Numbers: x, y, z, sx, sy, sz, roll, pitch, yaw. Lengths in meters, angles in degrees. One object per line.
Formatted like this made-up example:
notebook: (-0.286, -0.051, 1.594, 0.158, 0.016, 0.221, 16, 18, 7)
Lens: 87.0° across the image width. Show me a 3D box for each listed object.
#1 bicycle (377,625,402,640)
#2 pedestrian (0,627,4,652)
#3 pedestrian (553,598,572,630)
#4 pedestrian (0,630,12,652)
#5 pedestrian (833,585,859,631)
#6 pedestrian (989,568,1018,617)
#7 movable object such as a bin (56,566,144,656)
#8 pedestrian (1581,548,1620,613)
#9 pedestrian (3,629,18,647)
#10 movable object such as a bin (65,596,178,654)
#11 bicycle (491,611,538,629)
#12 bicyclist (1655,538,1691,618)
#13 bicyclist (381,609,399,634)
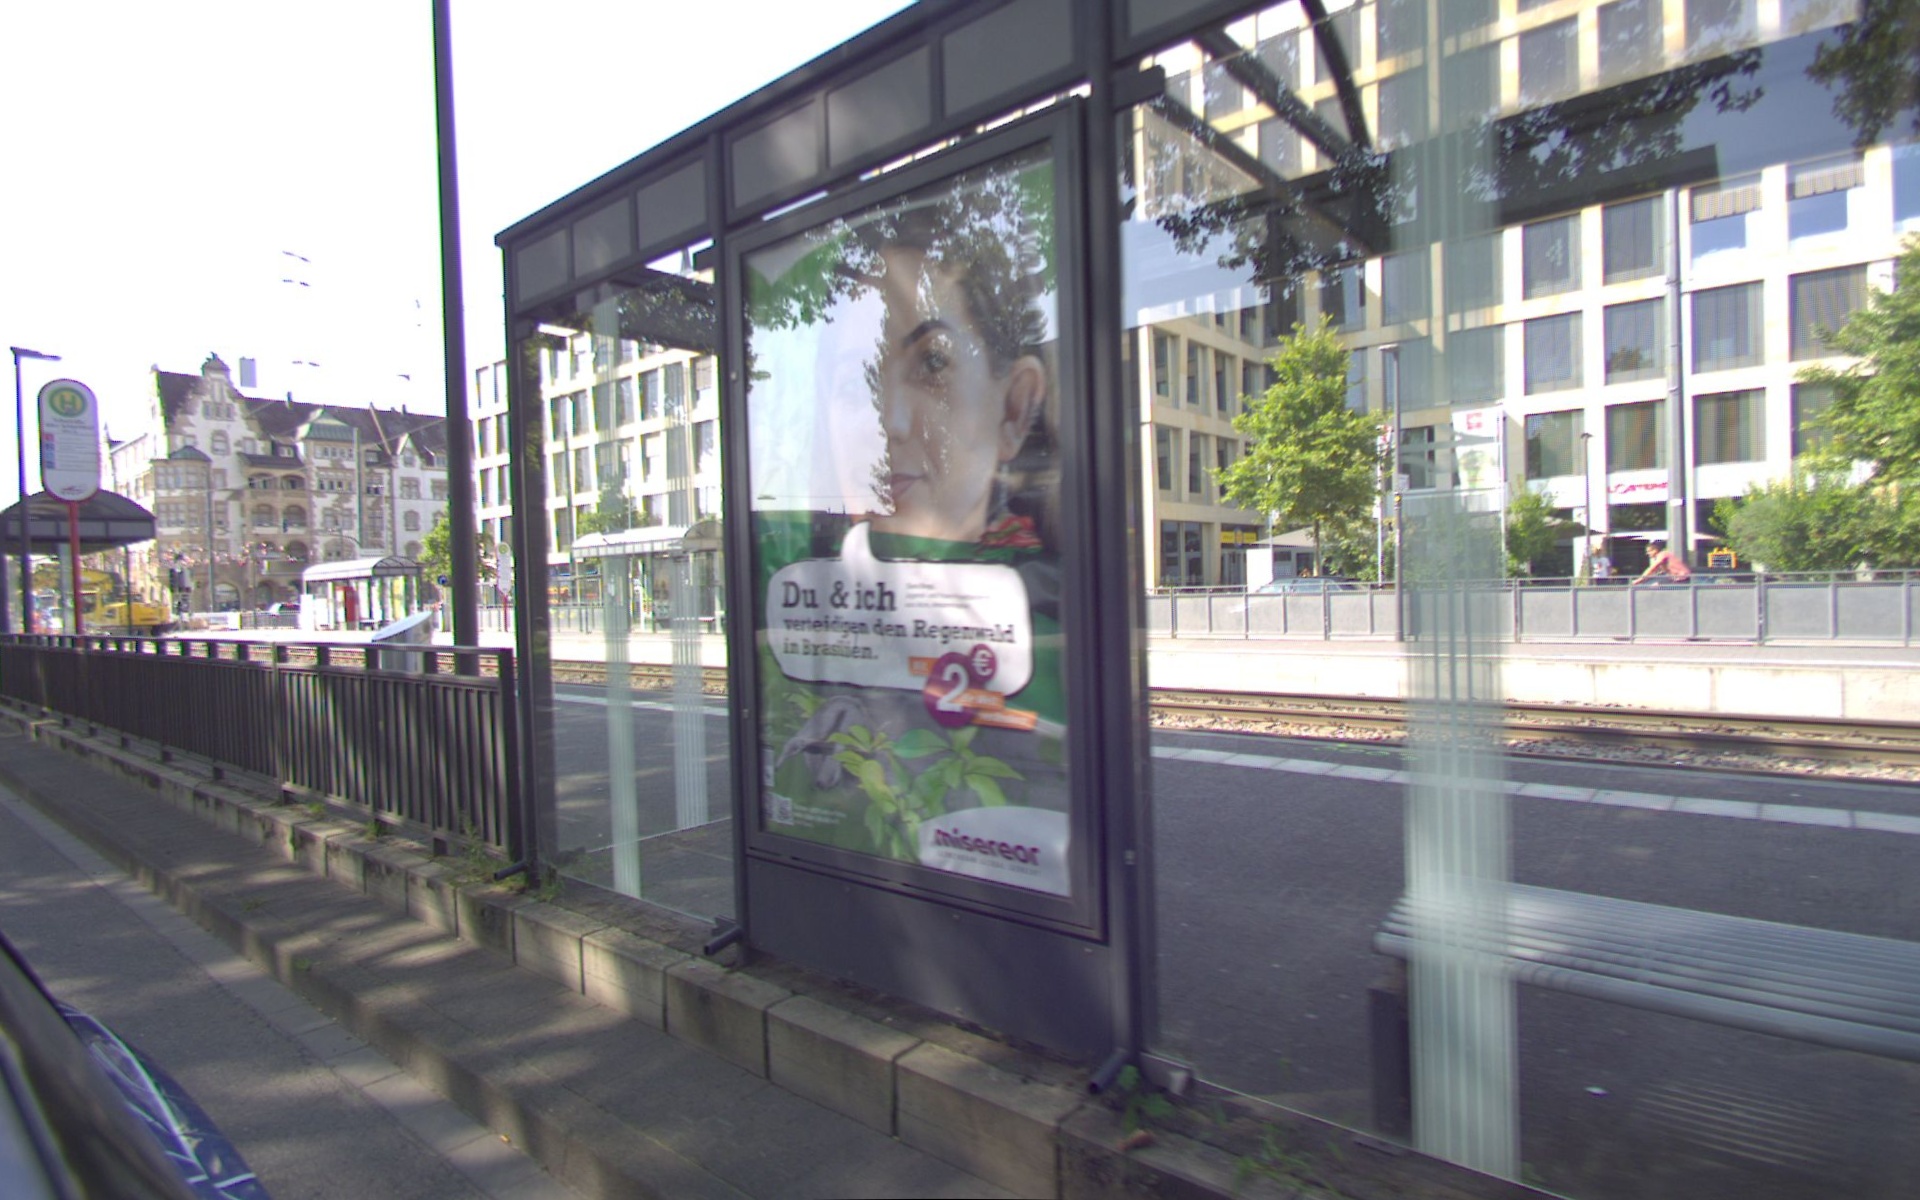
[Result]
bicycle: (-32.730, 1.879, 58.079, 1.896, 0.828, 0.623, 0, -1, 40)
pedestrian: (-52.639, 2.168, 55.044, 0.691, 1.345, 0.839, -2, 0, -29)
pedestrian: (-25.768, 0.923, 65.591, 0.689, 2.029, 0.843, 0, -2, 40)
pedestrian: (-53.060, 2.294, 55.978, 0.691, 1.186, 0.704, -2, 0, -29)
pedestrian: (-5.127, 0.376, 45.558, 0.822, 2.029, 0.758, -2, 0, 44)
pedestrian: (1.737, -0.291, 40.563, 0.836, 1.931, 0.786, 0, -1, 34)
movable object such as a bin: (-46.015, 0.569, 54.147, 4.211, 4.588, 2.955, -2, 0, 42)
pedestrian: (20.467, -0.605, 32.330, 0.913, 2.029, 0.720, -2, 0, 42)
pedestrian: (-68.349, 2.718, 72.860, 0.547, 1.256, 0.669, -2, 0, 38)
movable object such as a bin: (-50.825, 1.466, 61.405, 3.547, 3.247, 4.091, -2, 0, 25)
bicycle: (-26.714, 1.202, 60.699, 1.019, 0.975, 2.407, -2, 0, 38)
bicyclist: (12.486, -0.375, 17.723, 0.447, 1.371, 0.383, -2, 0, 40)
bicyclist: (-32.737, 1.256, 58.110, 0.783, 1.413, 0.623, 0, -2, 40)
